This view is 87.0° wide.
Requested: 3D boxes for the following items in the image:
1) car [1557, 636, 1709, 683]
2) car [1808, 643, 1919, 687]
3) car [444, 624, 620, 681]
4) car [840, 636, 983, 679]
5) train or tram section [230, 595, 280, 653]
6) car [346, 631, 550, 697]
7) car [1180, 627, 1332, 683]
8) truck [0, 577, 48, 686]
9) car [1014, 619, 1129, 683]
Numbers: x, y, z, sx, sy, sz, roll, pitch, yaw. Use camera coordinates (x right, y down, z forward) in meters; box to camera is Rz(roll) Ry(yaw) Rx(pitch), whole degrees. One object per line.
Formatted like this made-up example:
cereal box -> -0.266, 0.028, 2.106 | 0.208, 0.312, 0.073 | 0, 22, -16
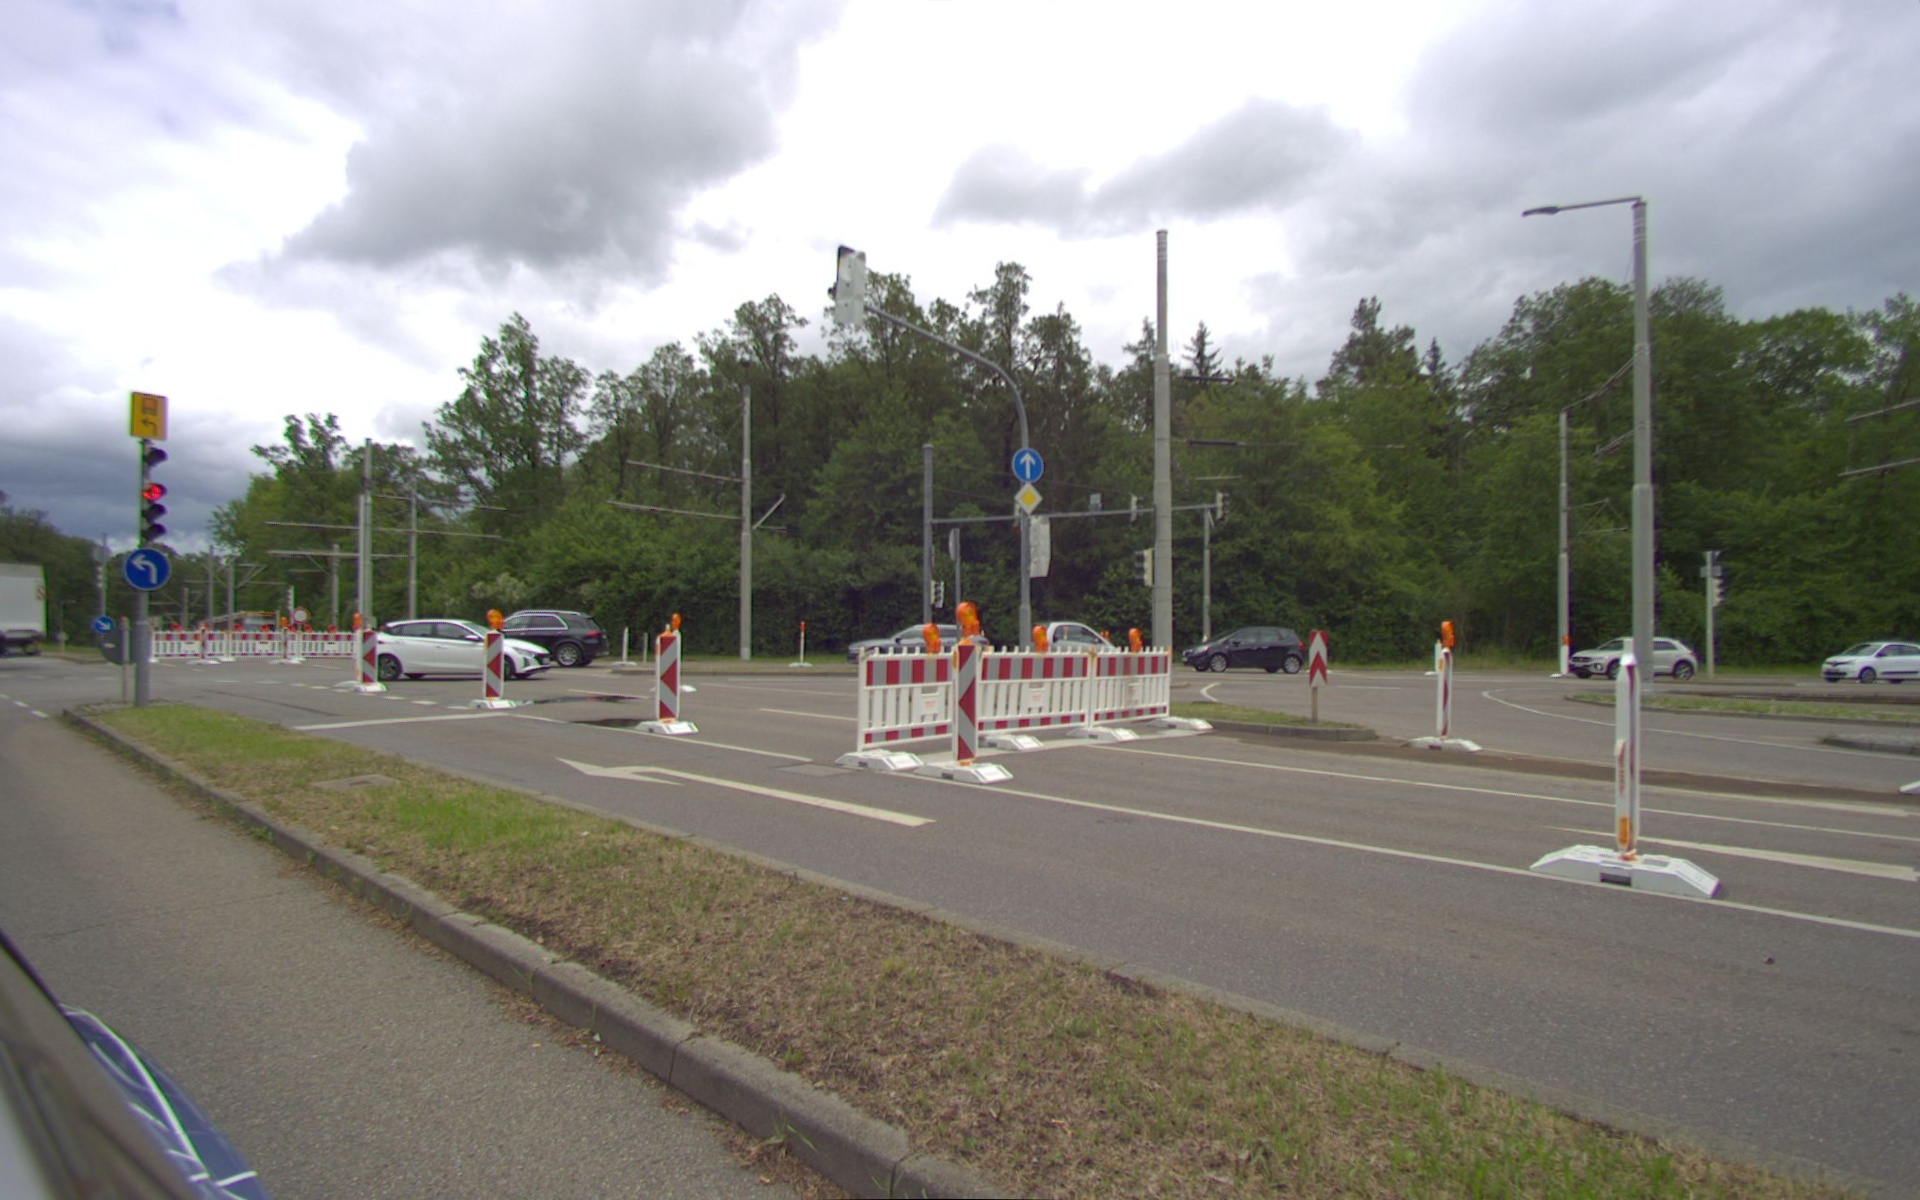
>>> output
car -> 24.310, 2.130, 36.665 | 4.244, 1.619, 1.970 | 1, -2, -5
car -> 34.404, 2.381, 37.463 | 4.334, 1.553, 1.968 | 0, -2, 0
car -> -13.602, 1.662, 32.372 | 4.775, 1.763, 1.969 | 0, -2, -2
car -> -1.641, 1.902, 33.735 | 4.618, 1.372, 1.970 | 1, -2, -5
train or tram section -> -64.374, 2.063, 92.141 | 2.908, 4.686, 18.587 | 3, -2, -37
car -> -12.200, 1.523, 24.317 | 4.010, 1.490, 1.657 | 1, -3, -6
car -> 10.161, 1.886, 34.978 | 4.618, 1.859, 1.970 | 1, -2, -5
truck -> -32.223, 0.903, 30.330 | 7.045, 3.249, 2.460 | 1, -3, -6
car -> 2.872, 1.334, 26.304 | 2.684, 1.598, 1.465 | 1, -3, -9
